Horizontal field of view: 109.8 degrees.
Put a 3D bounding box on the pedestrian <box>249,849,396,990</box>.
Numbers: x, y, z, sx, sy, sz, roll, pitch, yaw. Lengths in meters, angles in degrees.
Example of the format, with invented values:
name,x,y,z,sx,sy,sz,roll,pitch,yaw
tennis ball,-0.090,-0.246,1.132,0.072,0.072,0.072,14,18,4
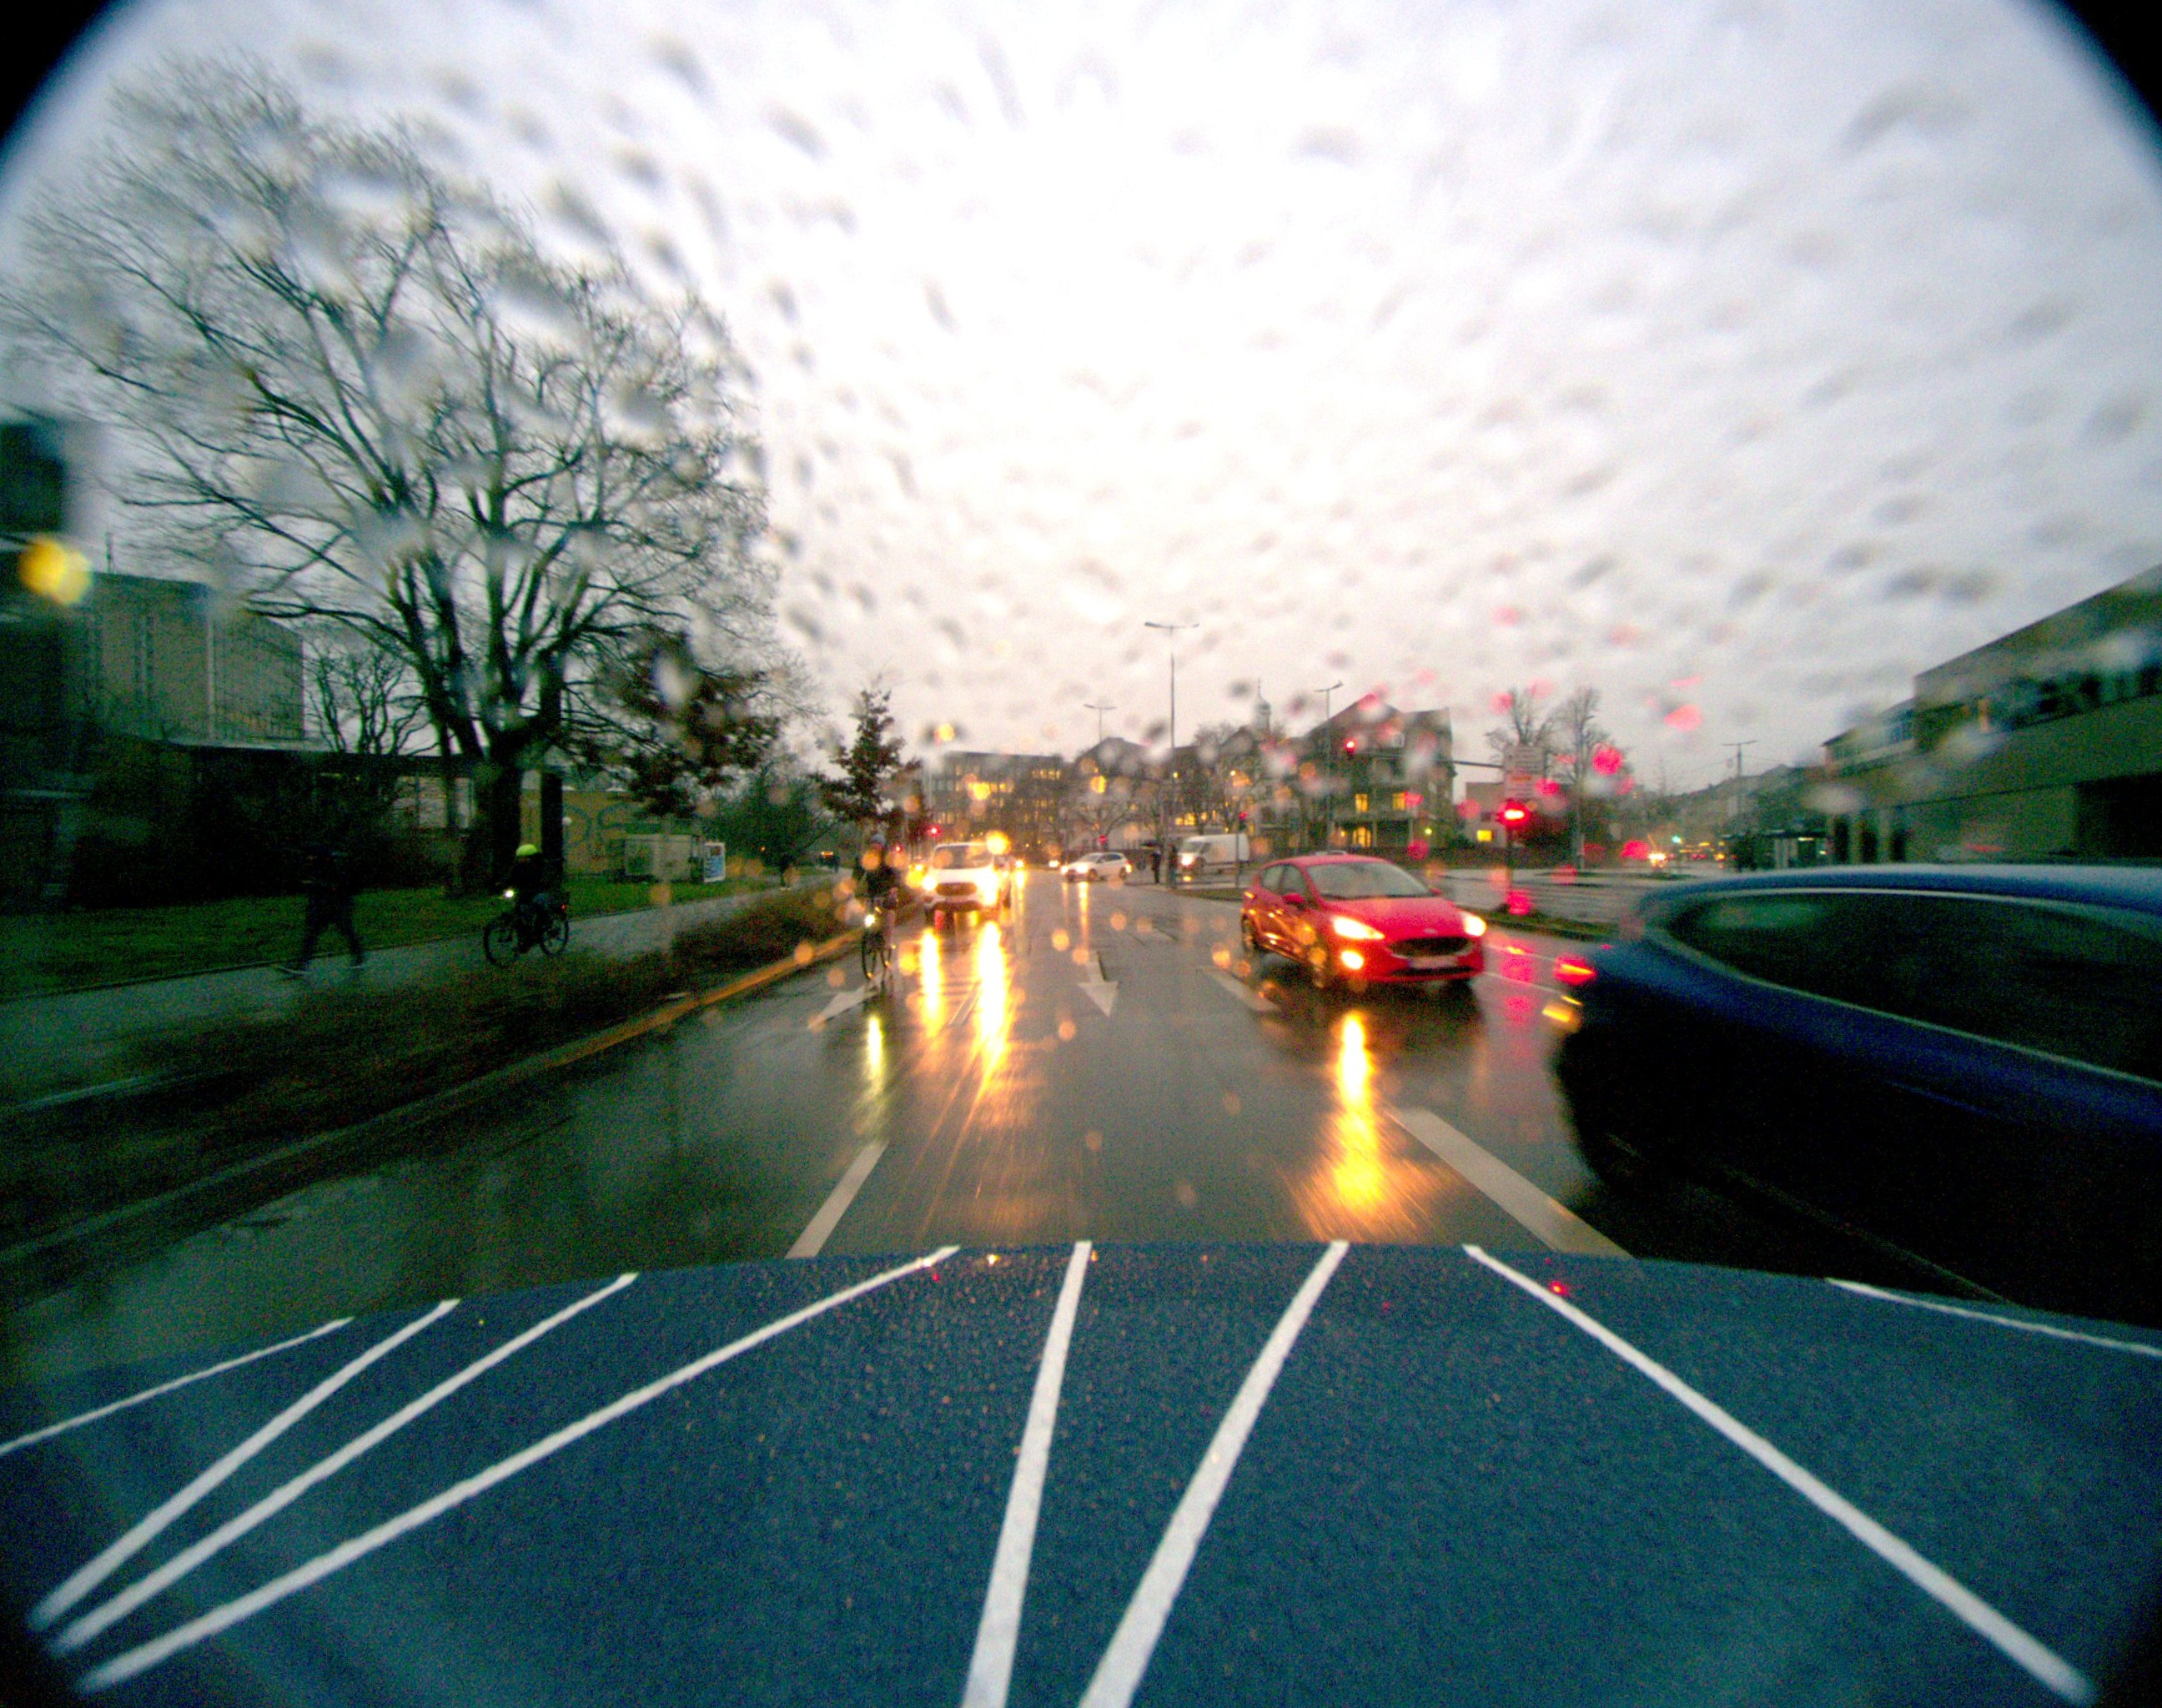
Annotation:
name,x,y,z,sx,sy,sz,roll,pitch,yaw
pedestrian,-9.585,0.785,9.650,0.810,1.678,1.070,1,1,-4

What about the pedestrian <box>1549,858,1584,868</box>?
name,x,y,z,sx,sy,sz,roll,pitch,yaw
pedestrian,52.889,0.976,82.768,3.091,0.924,0.951,-3,-2,35

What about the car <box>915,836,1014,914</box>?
name,x,y,z,sx,sy,sz,roll,pitch,yaw
car,-3.135,0.605,21.532,2.137,1.909,5.018,-1,-2,-1

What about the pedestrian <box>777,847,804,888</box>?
name,x,y,z,sx,sy,sz,roll,pitch,yaw
pedestrian,-12.063,0.569,31.540,0.913,1.677,0.926,1,-1,-15

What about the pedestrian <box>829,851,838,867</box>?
name,x,y,z,sx,sy,sz,roll,pitch,yaw
pedestrian,-28.200,0.619,86.587,0.934,1.815,0.832,0,1,-21

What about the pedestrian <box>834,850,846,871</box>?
name,x,y,z,sx,sy,sz,roll,pitch,yaw
pedestrian,-21.084,0.601,66.432,0.934,1.815,0.832,0,1,-21

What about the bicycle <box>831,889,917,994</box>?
name,x,y,z,sx,sy,sz,roll,pitch,yaw
bicycle,-2.823,1.149,10.571,0.794,1.215,1.903,-2,1,-5

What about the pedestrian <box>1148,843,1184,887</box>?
name,x,y,z,sx,sy,sz,roll,pitch,yaw
pedestrian,3.621,0.486,32.383,1.037,1.846,1.068,0,-2,-37

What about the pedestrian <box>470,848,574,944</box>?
name,x,y,z,sx,sy,sz,roll,pitch,yaw
pedestrian,-7.909,0.568,10.800,0.877,1.309,0.847,0,1,-9

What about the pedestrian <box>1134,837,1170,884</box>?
name,x,y,z,sx,sy,sz,roll,pitch,yaw
pedestrian,3.169,0.293,33.920,1.217,2.037,1.033,0,-2,-37

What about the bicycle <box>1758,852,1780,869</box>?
name,x,y,z,sx,sy,sz,roll,pitch,yaw
bicycle,46.220,0.428,51.072,0.645,1.098,2.757,-2,-2,34

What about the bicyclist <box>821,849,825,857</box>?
name,x,y,z,sx,sy,sz,roll,pitch,yaw
bicyclist,-45.421,-0.216,133.789,0.768,1.481,0.992,0,1,-21

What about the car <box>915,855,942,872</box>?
name,x,y,z,sx,sy,sz,roll,pitch,yaw
car,-14.164,0.834,70.371,1.776,1.478,4.462,0,1,-21

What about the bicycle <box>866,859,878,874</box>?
name,x,y,z,sx,sy,sz,roll,pitch,yaw
bicycle,-16.479,0.971,59.990,0.807,1.135,2.211,3,0,-13

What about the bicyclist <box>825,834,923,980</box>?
name,x,y,z,sx,sy,sz,roll,pitch,yaw
bicyclist,-2.818,0.685,10.488,1.027,1.872,1.235,-2,1,-5

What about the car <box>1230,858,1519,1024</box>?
name,x,y,z,sx,sy,sz,roll,pitch,yaw
car,3.231,0.841,9.266,1.705,1.473,3.870,-3,0,-5

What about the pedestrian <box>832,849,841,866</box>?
name,x,y,z,sx,sy,sz,roll,pitch,yaw
pedestrian,-26.040,0.393,80.884,0.934,1.815,0.832,0,1,-21

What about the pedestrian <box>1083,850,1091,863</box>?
name,x,y,z,sx,sy,sz,roll,pitch,yaw
pedestrian,0.805,0.299,106.096,0.810,1.820,0.945,0,1,-25

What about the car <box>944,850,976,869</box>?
name,x,y,z,sx,sy,sz,roll,pitch,yaw
car,-11.516,0.478,71.948,2.002,1.739,4.936,0,1,-21

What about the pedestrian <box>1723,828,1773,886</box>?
name,x,y,z,sx,sy,sz,roll,pitch,yaw
pedestrian,22.005,0.124,25.059,1.237,1.846,1.033,0,-2,-41

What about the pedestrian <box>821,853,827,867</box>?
name,x,y,z,sx,sy,sz,roll,pitch,yaw
pedestrian,-37.452,0.907,110.772,0.767,2.002,0.771,-1,1,-23

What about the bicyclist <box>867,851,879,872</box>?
name,x,y,z,sx,sy,sz,roll,pitch,yaw
bicyclist,-16.458,0.578,60.026,0.807,1.608,1.084,3,0,-13

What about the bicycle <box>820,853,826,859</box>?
name,x,y,z,sx,sy,sz,roll,pitch,yaw
bicycle,-45.400,0.401,133.737,0.795,1.010,2.897,0,1,-21

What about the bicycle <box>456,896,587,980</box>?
name,x,y,z,sx,sy,sz,roll,pitch,yaw
bicycle,-7.895,1.138,10.847,0.563,0.941,2.093,0,1,-8

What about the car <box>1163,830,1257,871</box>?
name,x,y,z,sx,sy,sz,roll,pitch,yaw
car,8.427,-0.184,49.412,5.878,2.502,2.343,0,-2,-31

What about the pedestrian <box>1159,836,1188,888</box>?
name,x,y,z,sx,sy,sz,roll,pitch,yaw
pedestrian,3.611,0.323,29.697,0.848,1.993,1.109,-1,-2,-5

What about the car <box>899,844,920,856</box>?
name,x,y,z,sx,sy,sz,roll,pitch,yaw
car,-22.866,-0.534,101.367,2.002,1.558,4.752,1,0,-21

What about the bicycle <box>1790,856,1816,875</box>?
name,x,y,z,sx,sy,sz,roll,pitch,yaw
bicycle,42.293,0.680,44.531,0.645,1.098,2.757,-2,-2,34

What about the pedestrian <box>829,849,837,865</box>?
name,x,y,z,sx,sy,sz,roll,pitch,yaw
pedestrian,-30.816,0.347,94.406,0.767,2.002,0.909,-1,1,-23

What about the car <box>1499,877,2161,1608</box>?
name,x,y,z,sx,sy,sz,roll,pitch,yaw
car,3.066,0.856,1.822,1.663,1.396,4.118,-2,0,-3

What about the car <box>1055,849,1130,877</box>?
name,x,y,z,sx,sy,sz,roll,pitch,yaw
car,0.718,0.522,43.000,1.751,1.494,4.327,-3,-2,43

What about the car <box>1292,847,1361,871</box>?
name,x,y,z,sx,sy,sz,roll,pitch,yaw
car,17.711,0.339,54.695,4.824,1.634,1.835,0,1,-27

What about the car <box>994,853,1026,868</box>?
name,x,y,z,sx,sy,sz,roll,pitch,yaw
car,-6.828,0.628,72.752,1.934,1.368,4.490,0,1,-21
